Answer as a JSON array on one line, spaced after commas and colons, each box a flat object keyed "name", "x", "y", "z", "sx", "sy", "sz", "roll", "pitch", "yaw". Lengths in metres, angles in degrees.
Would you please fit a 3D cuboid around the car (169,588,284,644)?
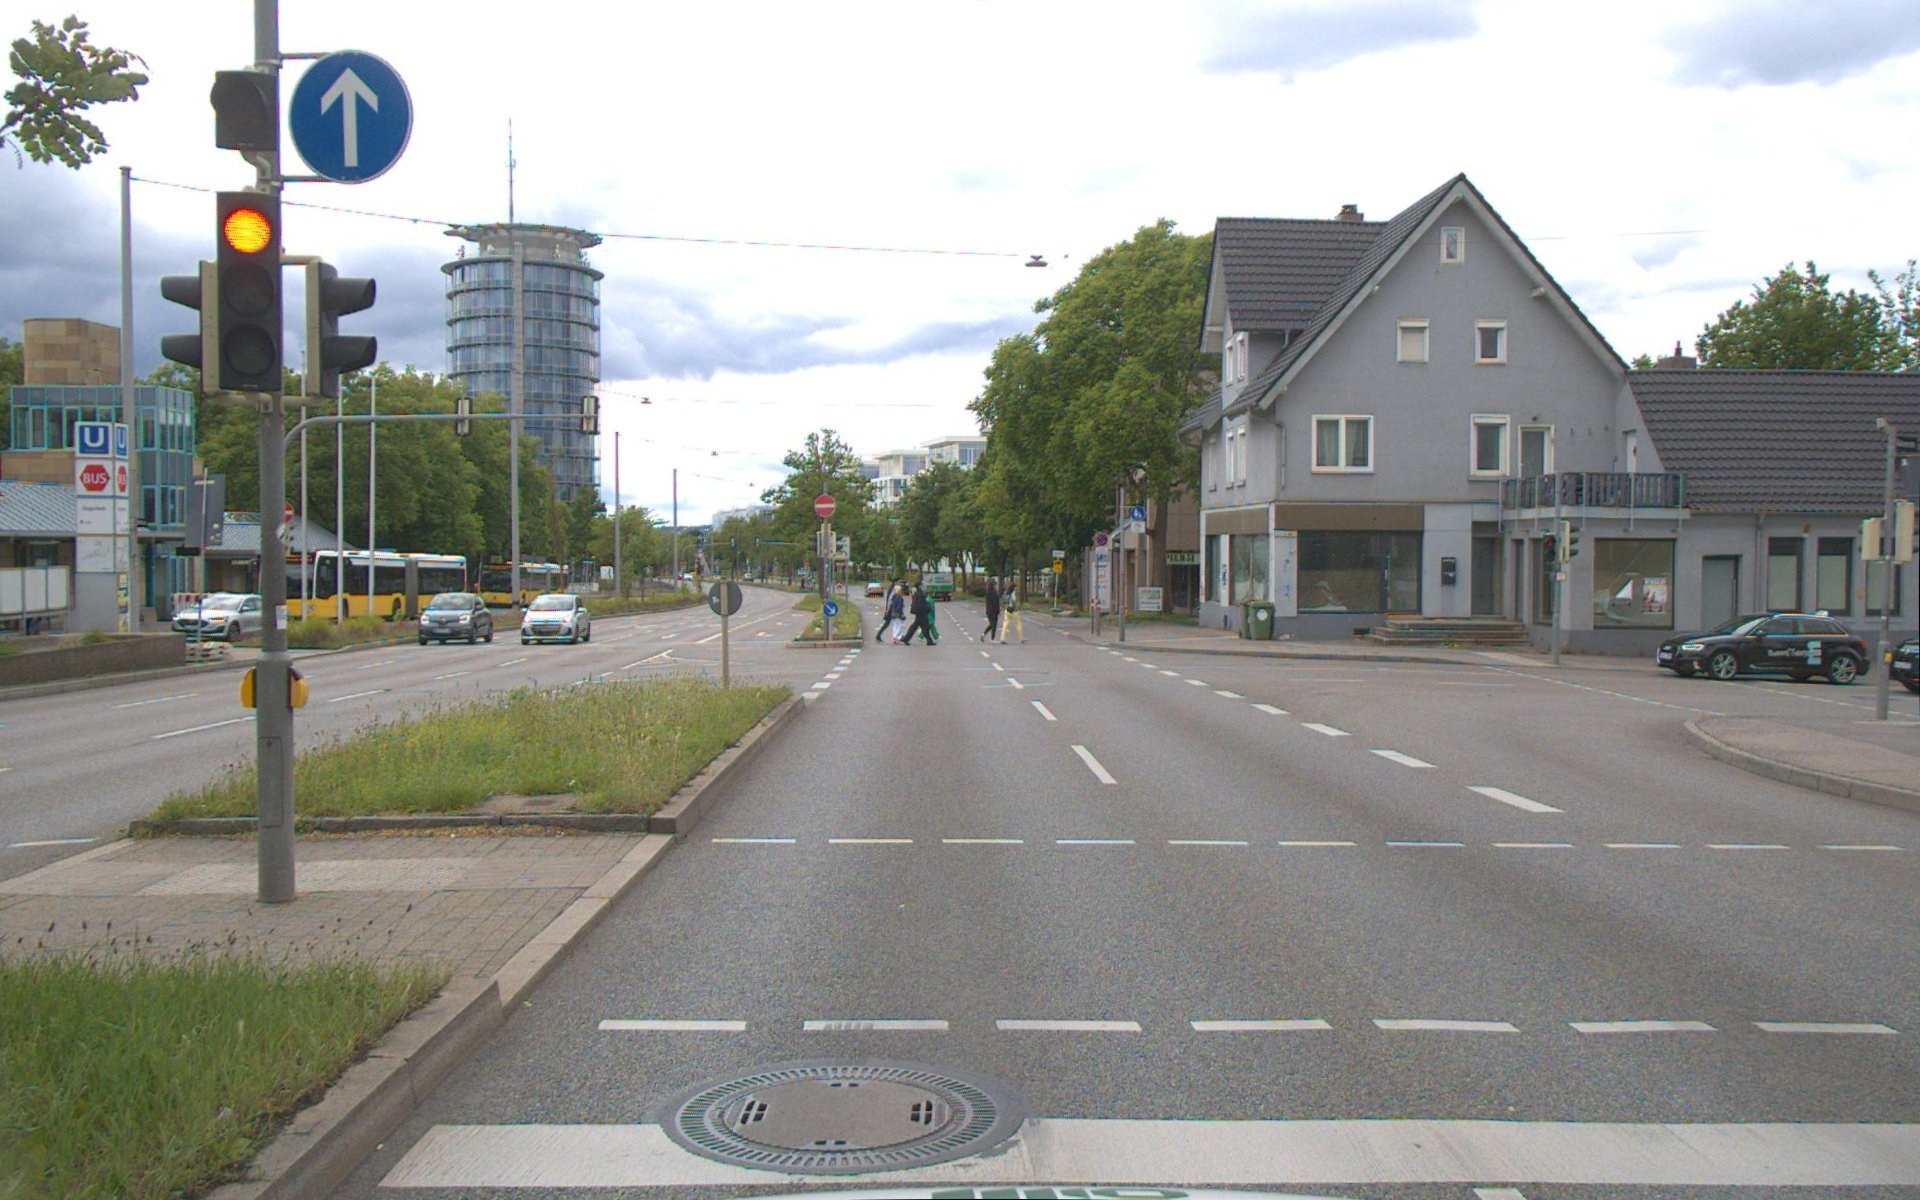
[{"name": "car", "x": -22.879, "y": 0.475, "z": 51.737, "sx": 1.769, "sy": 1.691, "sz": 4.000, "roll": 0, "pitch": 0, "yaw": 0}]

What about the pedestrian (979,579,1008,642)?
[{"name": "pedestrian", "x": 0.930, "y": 0.287, "z": 46.506, "sx": 0.731, "sy": 1.746, "sz": 0.582, "roll": 0, "pitch": 0, "yaw": -8}]

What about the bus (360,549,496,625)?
[{"name": "bus", "x": -26.371, "y": -0.631, "z": 82.608, "sx": 2.772, "sy": 3.490, "sz": 10.737, "roll": 0, "pitch": 0, "yaw": 3}]

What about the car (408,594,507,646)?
[{"name": "car", "x": -15.451, "y": 0.578, "z": 51.093, "sx": 1.953, "sy": 1.512, "sz": 3.998, "roll": -1, "pitch": 0, "yaw": -2}]

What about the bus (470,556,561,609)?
[{"name": "bus", "x": -30.379, "y": -1.172, "z": 113.635, "sx": 2.772, "sy": 3.490, "sz": 10.737, "roll": 0, "pitch": 0, "yaw": 3}]

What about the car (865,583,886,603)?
[{"name": "car", "x": -8.291, "y": -0.692, "z": 162.631, "sx": 1.954, "sy": 1.862, "sz": 3.998, "roll": 1, "pitch": 0, "yaw": -3}]

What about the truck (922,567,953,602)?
[{"name": "truck", "x": -1.835, "y": -1.314, "z": 134.542, "sx": 2.420, "sy": 2.657, "sz": 6.547, "roll": 1, "pitch": 1, "yaw": -1}]

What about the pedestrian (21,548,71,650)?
[{"name": "pedestrian", "x": -18.653, "y": -0.023, "z": 33.753, "sx": 0.668, "sy": 2.049, "sz": 0.645, "roll": 0, "pitch": 0, "yaw": -5}]

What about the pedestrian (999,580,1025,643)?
[{"name": "pedestrian", "x": 1.446, "y": 0.313, "z": 46.006, "sx": 0.641, "sy": 1.746, "sz": 0.451, "roll": 0, "pitch": 0, "yaw": -8}]

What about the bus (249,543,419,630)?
[{"name": "bus", "x": -26.946, "y": -0.576, "z": 71.936, "sx": 2.772, "sy": 3.490, "sz": 10.737, "roll": 0, "pitch": 0, "yaw": 3}]

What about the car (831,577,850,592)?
[{"name": "car", "x": -12.751, "y": -1.639, "z": 175.958, "sx": 1.954, "sy": 1.545, "sz": 3.996, "roll": 0, "pitch": 1, "yaw": -5}]

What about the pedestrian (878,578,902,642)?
[{"name": "pedestrian", "x": -1.939, "y": 0.280, "z": 45.800, "sx": 0.601, "sy": 1.746, "sz": 0.545, "roll": 0, "pitch": 0, "yaw": -8}]

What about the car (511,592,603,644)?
[{"name": "car", "x": -12.300, "y": 0.535, "z": 50.743, "sx": 1.953, "sy": 1.512, "sz": 3.998, "roll": -1, "pitch": 0, "yaw": -2}]

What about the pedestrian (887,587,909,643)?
[{"name": "pedestrian", "x": -1.700, "y": 0.412, "z": 45.177, "sx": 0.533, "sy": 1.522, "sz": 0.486, "roll": 0, "pitch": 0, "yaw": -8}]

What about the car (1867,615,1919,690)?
[{"name": "car", "x": 20.063, "y": 1.058, "z": 32.040, "sx": 4.006, "sy": 1.395, "sz": 1.799, "roll": 2, "pitch": 0, "yaw": -2}]

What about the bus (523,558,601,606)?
[{"name": "bus", "x": -29.813, "y": -1.316, "z": 124.384, "sx": 2.772, "sy": 3.490, "sz": 10.737, "roll": 0, "pitch": 0, "yaw": 3}]

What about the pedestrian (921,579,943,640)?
[{"name": "pedestrian", "x": -0.816, "y": 0.270, "z": 47.625, "sx": 0.572, "sy": 1.746, "sz": 0.545, "roll": 0, "pitch": 0, "yaw": -8}]

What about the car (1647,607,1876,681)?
[{"name": "car", "x": 17.012, "y": 0.916, "z": 35.229, "sx": 4.006, "sy": 1.395, "sz": 1.799, "roll": 2, "pitch": 0, "yaw": -2}]

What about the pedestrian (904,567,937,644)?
[{"name": "pedestrian", "x": -1.051, "y": 0.146, "z": 44.244, "sx": 0.814, "sy": 2.049, "sz": 0.545, "roll": 0, "pitch": 0, "yaw": -8}]

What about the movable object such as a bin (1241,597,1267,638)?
[{"name": "movable object such as a bin", "x": 7.925, "y": 0.468, "z": 44.612, "sx": 0.603, "sy": 1.061, "sz": 0.589, "roll": 1, "pitch": 0, "yaw": 1}]

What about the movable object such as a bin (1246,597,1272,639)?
[{"name": "movable object such as a bin", "x": 7.961, "y": 0.474, "z": 44.038, "sx": 0.592, "sy": 1.078, "sz": 0.589, "roll": 1, "pitch": 0, "yaw": 1}]
